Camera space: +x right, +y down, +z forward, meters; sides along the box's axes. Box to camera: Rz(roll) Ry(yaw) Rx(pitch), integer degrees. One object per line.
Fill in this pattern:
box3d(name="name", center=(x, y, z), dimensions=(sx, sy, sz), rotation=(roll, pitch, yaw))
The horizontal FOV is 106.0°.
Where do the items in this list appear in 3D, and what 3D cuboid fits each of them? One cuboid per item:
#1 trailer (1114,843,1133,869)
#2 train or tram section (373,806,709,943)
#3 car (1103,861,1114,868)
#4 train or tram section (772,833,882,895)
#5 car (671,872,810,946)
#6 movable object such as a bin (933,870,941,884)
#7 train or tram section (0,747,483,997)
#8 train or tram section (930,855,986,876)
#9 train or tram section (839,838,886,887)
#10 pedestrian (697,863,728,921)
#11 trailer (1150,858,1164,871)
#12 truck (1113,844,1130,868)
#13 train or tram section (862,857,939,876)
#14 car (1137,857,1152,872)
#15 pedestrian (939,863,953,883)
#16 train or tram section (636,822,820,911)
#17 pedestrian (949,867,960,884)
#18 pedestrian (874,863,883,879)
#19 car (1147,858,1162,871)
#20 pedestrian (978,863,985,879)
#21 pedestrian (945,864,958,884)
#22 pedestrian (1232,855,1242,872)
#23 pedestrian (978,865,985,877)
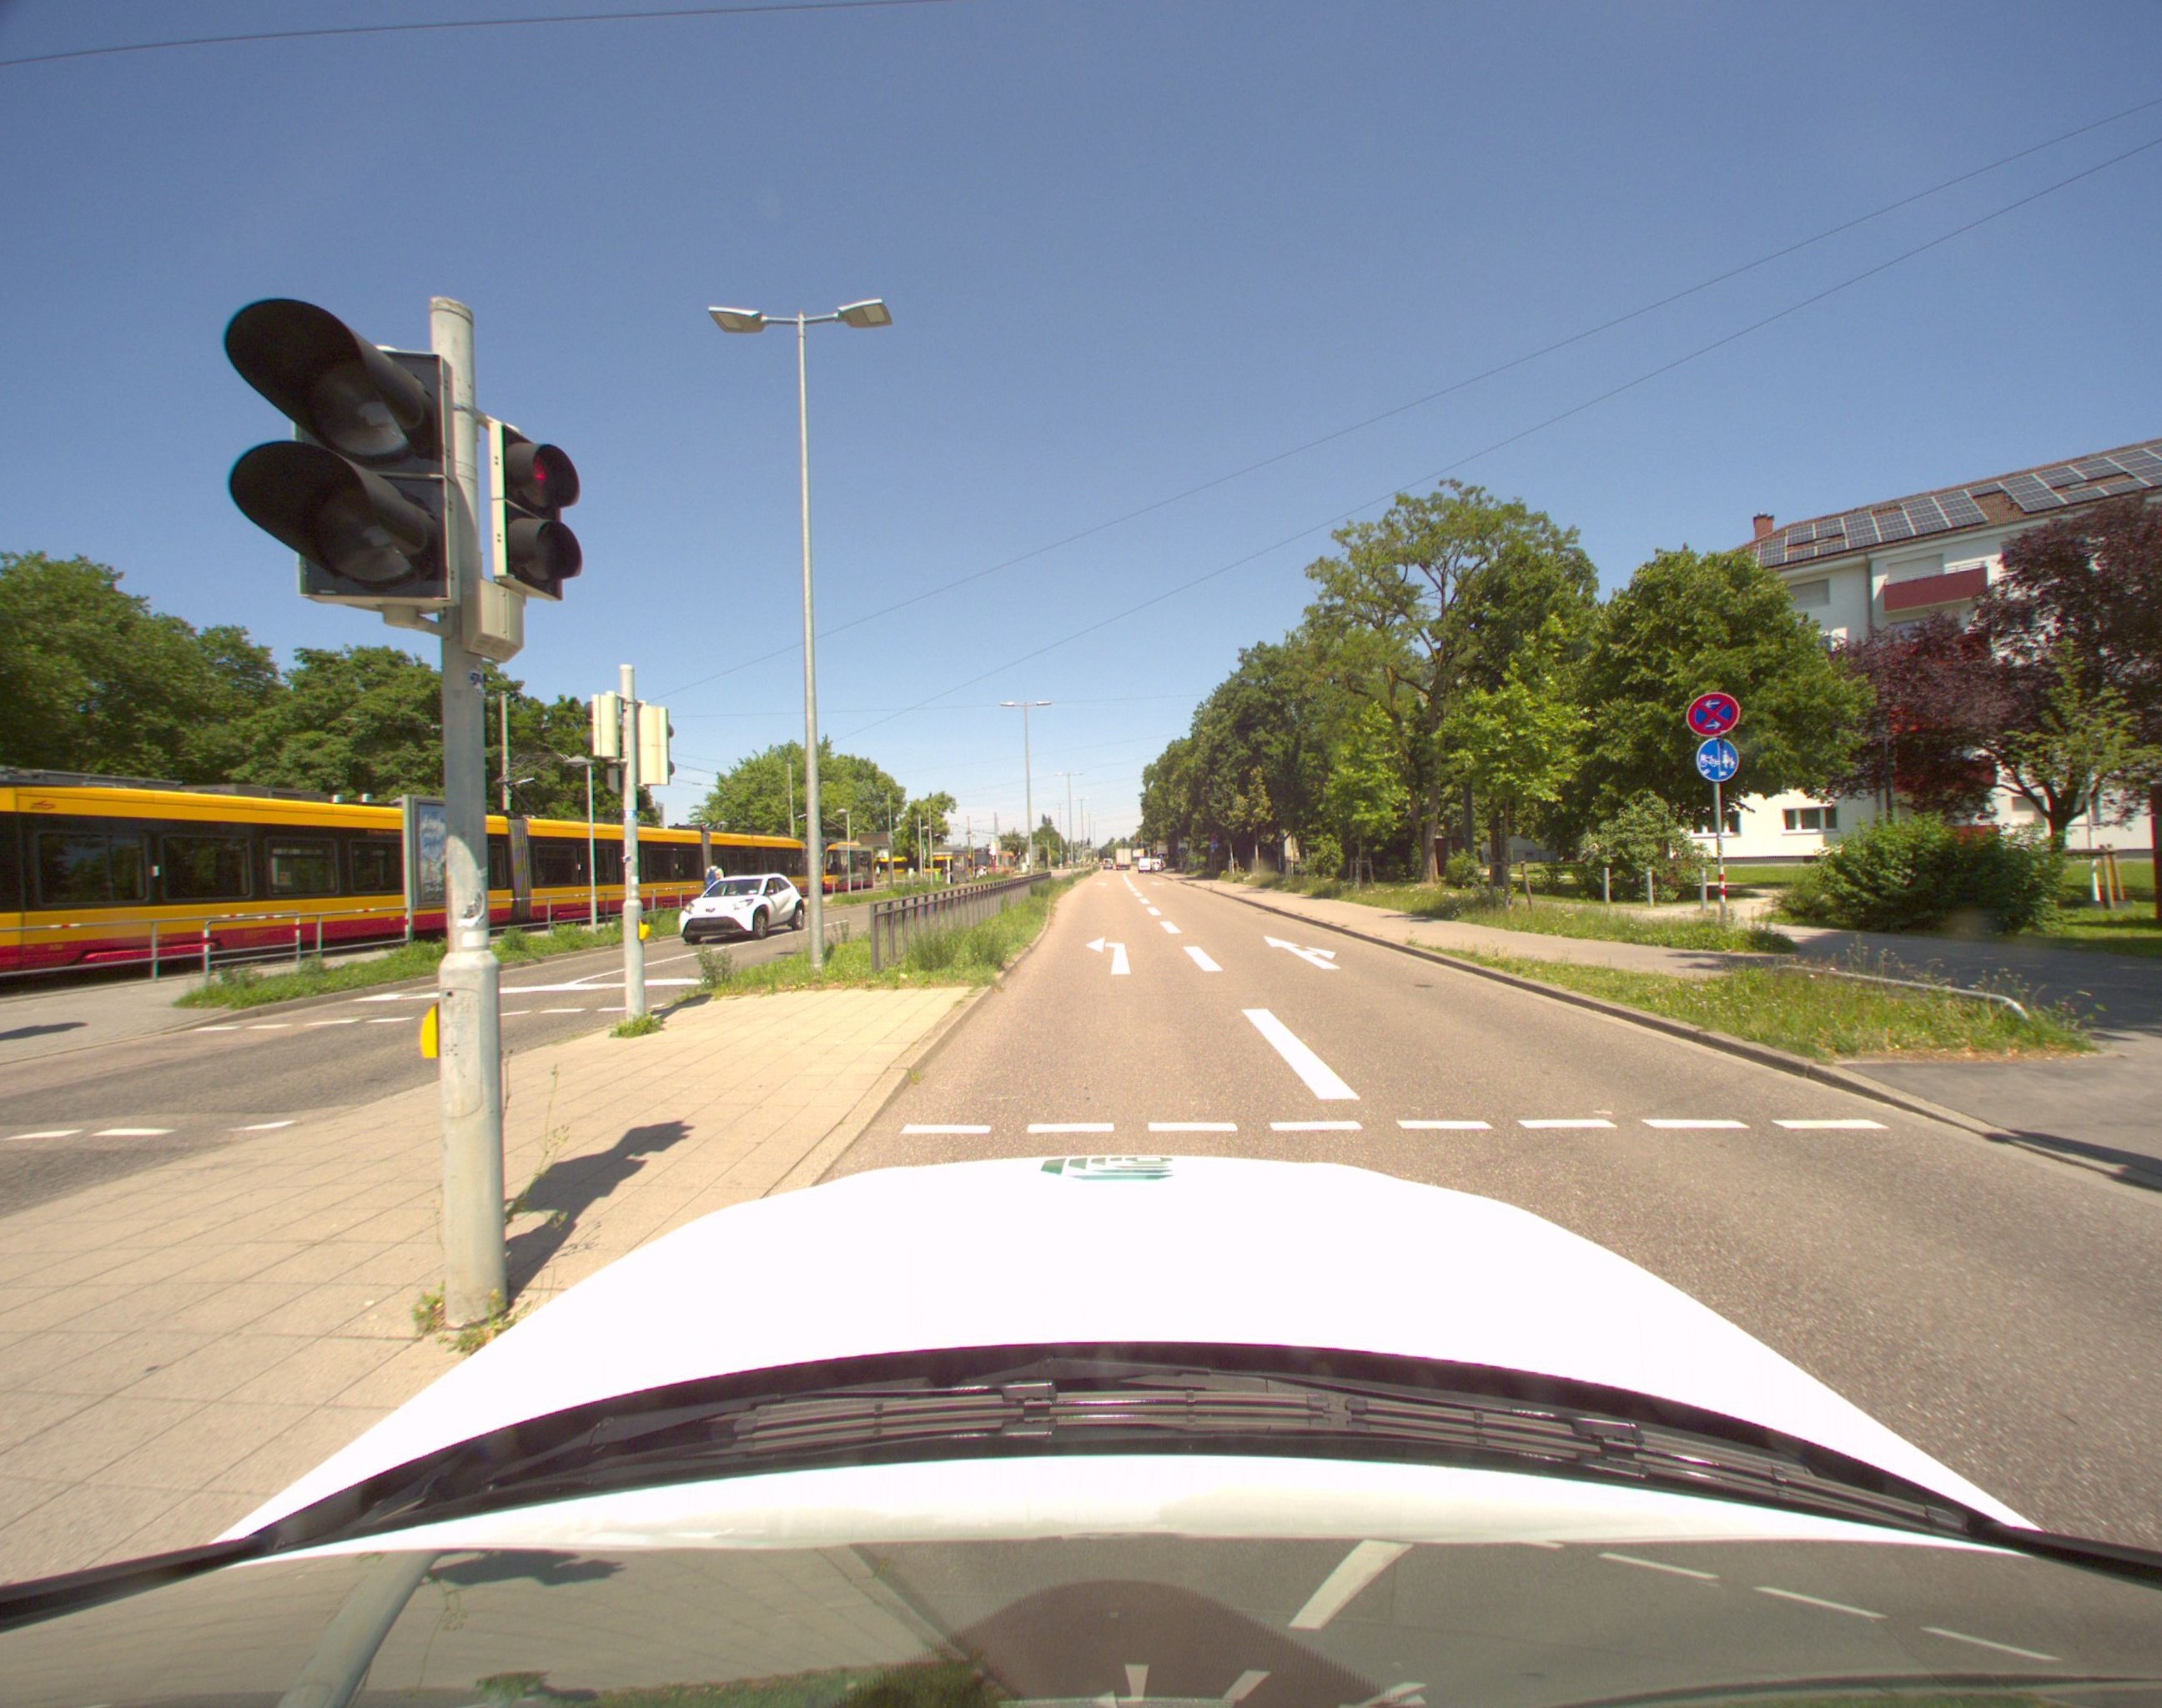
box3d(name="trailer", center=(7.366, 0.401, 142.047), dimensions=(2.817, 4.421, 8.749), rotation=(0, 0, 1))
box3d(name="train or tram section", center=(-17.663, 0.590, 28.581), dimensions=(3.032, 3.741, 12.600), rotation=(0, 0, 2))
box3d(name="car", center=(5.130, 1.970, 153.085), dimensions=(1.885, 1.372, 4.431), rotation=(1, 0, 1))
box3d(name="train or tram section", center=(-16.621, 0.637, 54.874), dimensions=(3.034, 3.624, 13.895), rotation=(0, 0, 0))
box3d(name="car", center=(-8.108, 1.254, 19.771), dimensions=(1.763, 1.505, 3.719), rotation=(-2, 0, 0))
box3d(name="movable object such as a bin", center=(-10.191, 1.649, 57.736), dimensions=(0.480, 0.978, 0.644), rotation=(-2, -1, -2))
box3d(name="train or tram section", center=(-18.016, 0.305, 16.529), dimensions=(2.939, 3.855, 11.545), rotation=(0, 0, 2))
box3d(name="train or tram section", center=(-21.379, 1.993, 141.159), dimensions=(3.063, 3.466, 12.596), rotation=(0, -1, -43))
box3d(name="train or tram section", center=(-17.677, 0.635, 66.631), dimensions=(3.046, 3.624, 12.399), rotation=(0, 0, -12))
box3d(name="pedestrian", center=(-11.627, 1.188, 25.725), dimensions=(0.630, 1.791, 0.776), rotation=(0, -1, 0))
box3d(name="trailer", center=(9.962, 1.425, 106.858), dimensions=(1.464, 1.669, 2.856), rotation=(0, 0, 0))
box3d(name="truck", center=(7.483, 0.402, 150.503), dimensions=(2.817, 4.344, 8.284), rotation=(0, 0, 1))
box3d(name="train or tram section", center=(-32.554, 2.239, 147.263), dimensions=(13.160, 3.466, 3.050), rotation=(0, 0, 4))
box3d(name="car", center=(7.874, 1.294, 100.423), dimensions=(1.701, 1.747, 4.434), rotation=(0, 0, 6))
box3d(name="pedestrian", center=(-10.659, 1.497, 64.326), dimensions=(0.927, 1.546, 0.985), rotation=(0, -1, 0))
box3d(name="train or tram section", center=(-17.200, 0.573, 41.371), dimensions=(3.032, 3.767, 13.269), rotation=(0, 0, 2))
box3d(name="pedestrian", center=(-9.575, 1.622, 61.546), dimensions=(0.699, 1.283, 0.840), rotation=(0, -1, 0))
box3d(name="pedestrian", center=(-19.953, 1.646, 80.258), dimensions=(0.802, 1.565, 0.534), rotation=(0, -1, -13))
box3d(name="car", center=(10.008, 1.419, 110.500), dimensions=(1.693, 1.654, 4.399), rotation=(0, 0, 1))
box3d(name="pedestrian", center=(-9.831, 1.701, 80.401), dimensions=(0.533, 1.565, 0.582), rotation=(0, -1, 0))
box3d(name="pedestrian", center=(-10.036, 1.520, 63.180), dimensions=(0.871, 1.546, 1.026), rotation=(0, -1, 0))
box3d(name="pedestrian", center=(13.247, 0.792, 69.116), dimensions=(0.705, 1.398, 0.763), rotation=(0, -1, 3))
box3d(name="pedestrian", center=(-9.674, 1.670, 79.008), dimensions=(0.579, 1.189, 0.536), rotation=(0, -1, -2))
